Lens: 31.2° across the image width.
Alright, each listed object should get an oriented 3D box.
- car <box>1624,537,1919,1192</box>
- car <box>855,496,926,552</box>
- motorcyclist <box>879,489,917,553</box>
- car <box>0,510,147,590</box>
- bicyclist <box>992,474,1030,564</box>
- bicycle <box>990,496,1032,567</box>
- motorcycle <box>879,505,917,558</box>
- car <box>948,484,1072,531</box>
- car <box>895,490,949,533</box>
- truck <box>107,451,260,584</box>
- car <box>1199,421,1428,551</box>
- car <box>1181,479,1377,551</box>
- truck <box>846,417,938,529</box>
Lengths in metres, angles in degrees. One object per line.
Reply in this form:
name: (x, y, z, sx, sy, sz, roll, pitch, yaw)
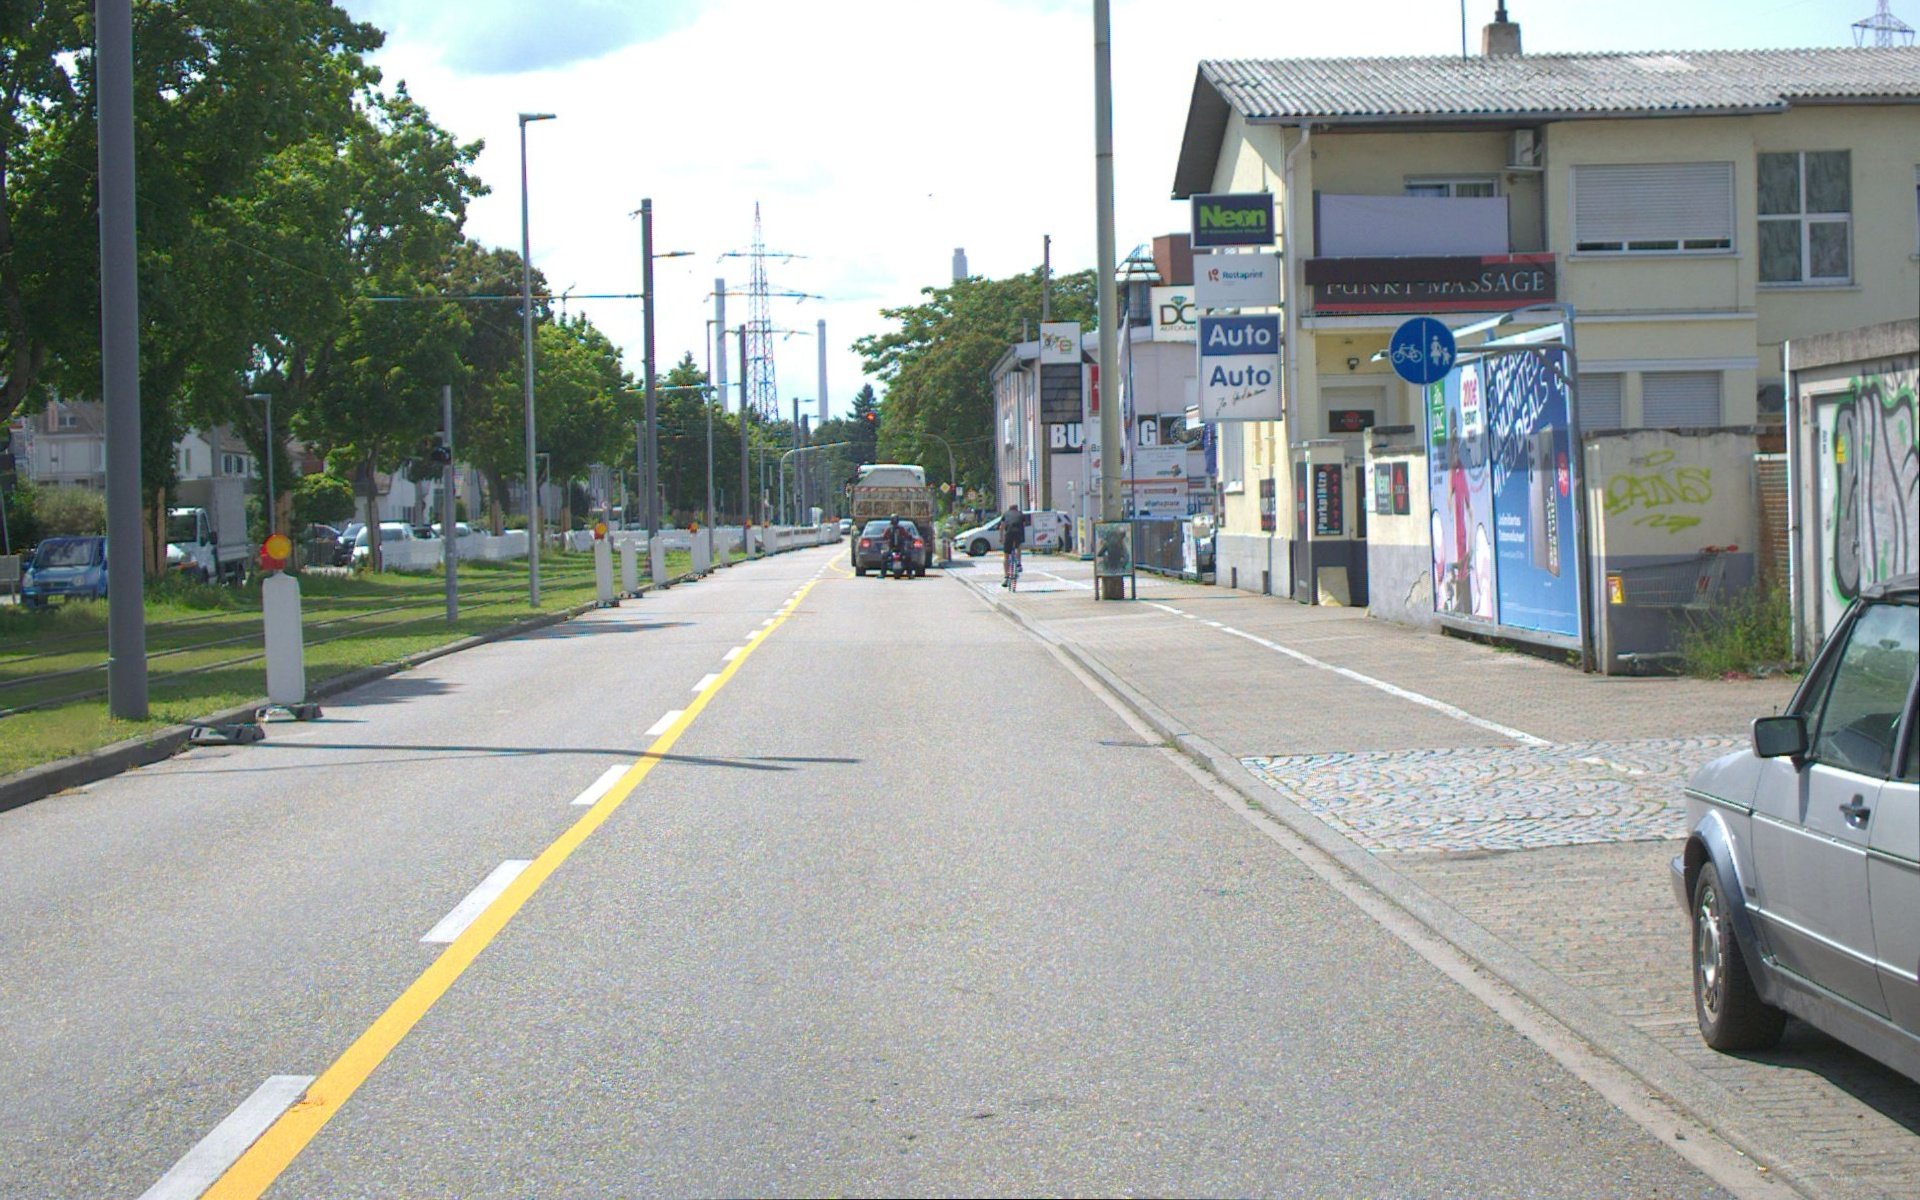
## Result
car: (2.946, 0.561, 8.751, 1.651, 1.426, 4.097, -2, 1, 0)
car: (-1.842, -2.035, 91.546, 1.821, 1.419, 4.001, -1, 2, -1)
motorcyclist: (-1.573, -1.998, 86.892, 0.939, 1.609, 1.205, 0, 1, -1)
car: (-17.435, -0.988, 67.733, 1.993, 1.448, 4.001, -2, 1, -3)
bicyclist: (1.005, -1.604, 67.786, 0.671, 1.738, 0.814, -2, 2, -1)
bicycle: (0.994, -1.366, 67.713, 0.693, 1.357, 2.419, -2, 2, -1)
motorcycle: (-1.582, -1.749, 87.079, 0.939, 1.316, 2.645, 0, 1, -1)
car: (1.877, -3.466, 129.035, 4.329, 1.546, 1.950, -3, 1, -9)
car: (-1.331, -3.113, 120.735, 1.821, 1.459, 4.001, -1, 2, -1)
truck: (-17.699, -1.930, 78.689, 1.993, 2.758, 6.277, -5, 2, -1)
car: (7.415, -2.394, 72.457, 4.537, 2.564, 2.151, -2, 1, 1)
car: (6.993, -1.866, 75.258, 4.184, 1.426, 1.820, -2, 1, 6)
truck: (-2.084, -4.043, 107.576, 2.610, 3.244, 9.183, -2, 3, 0)
